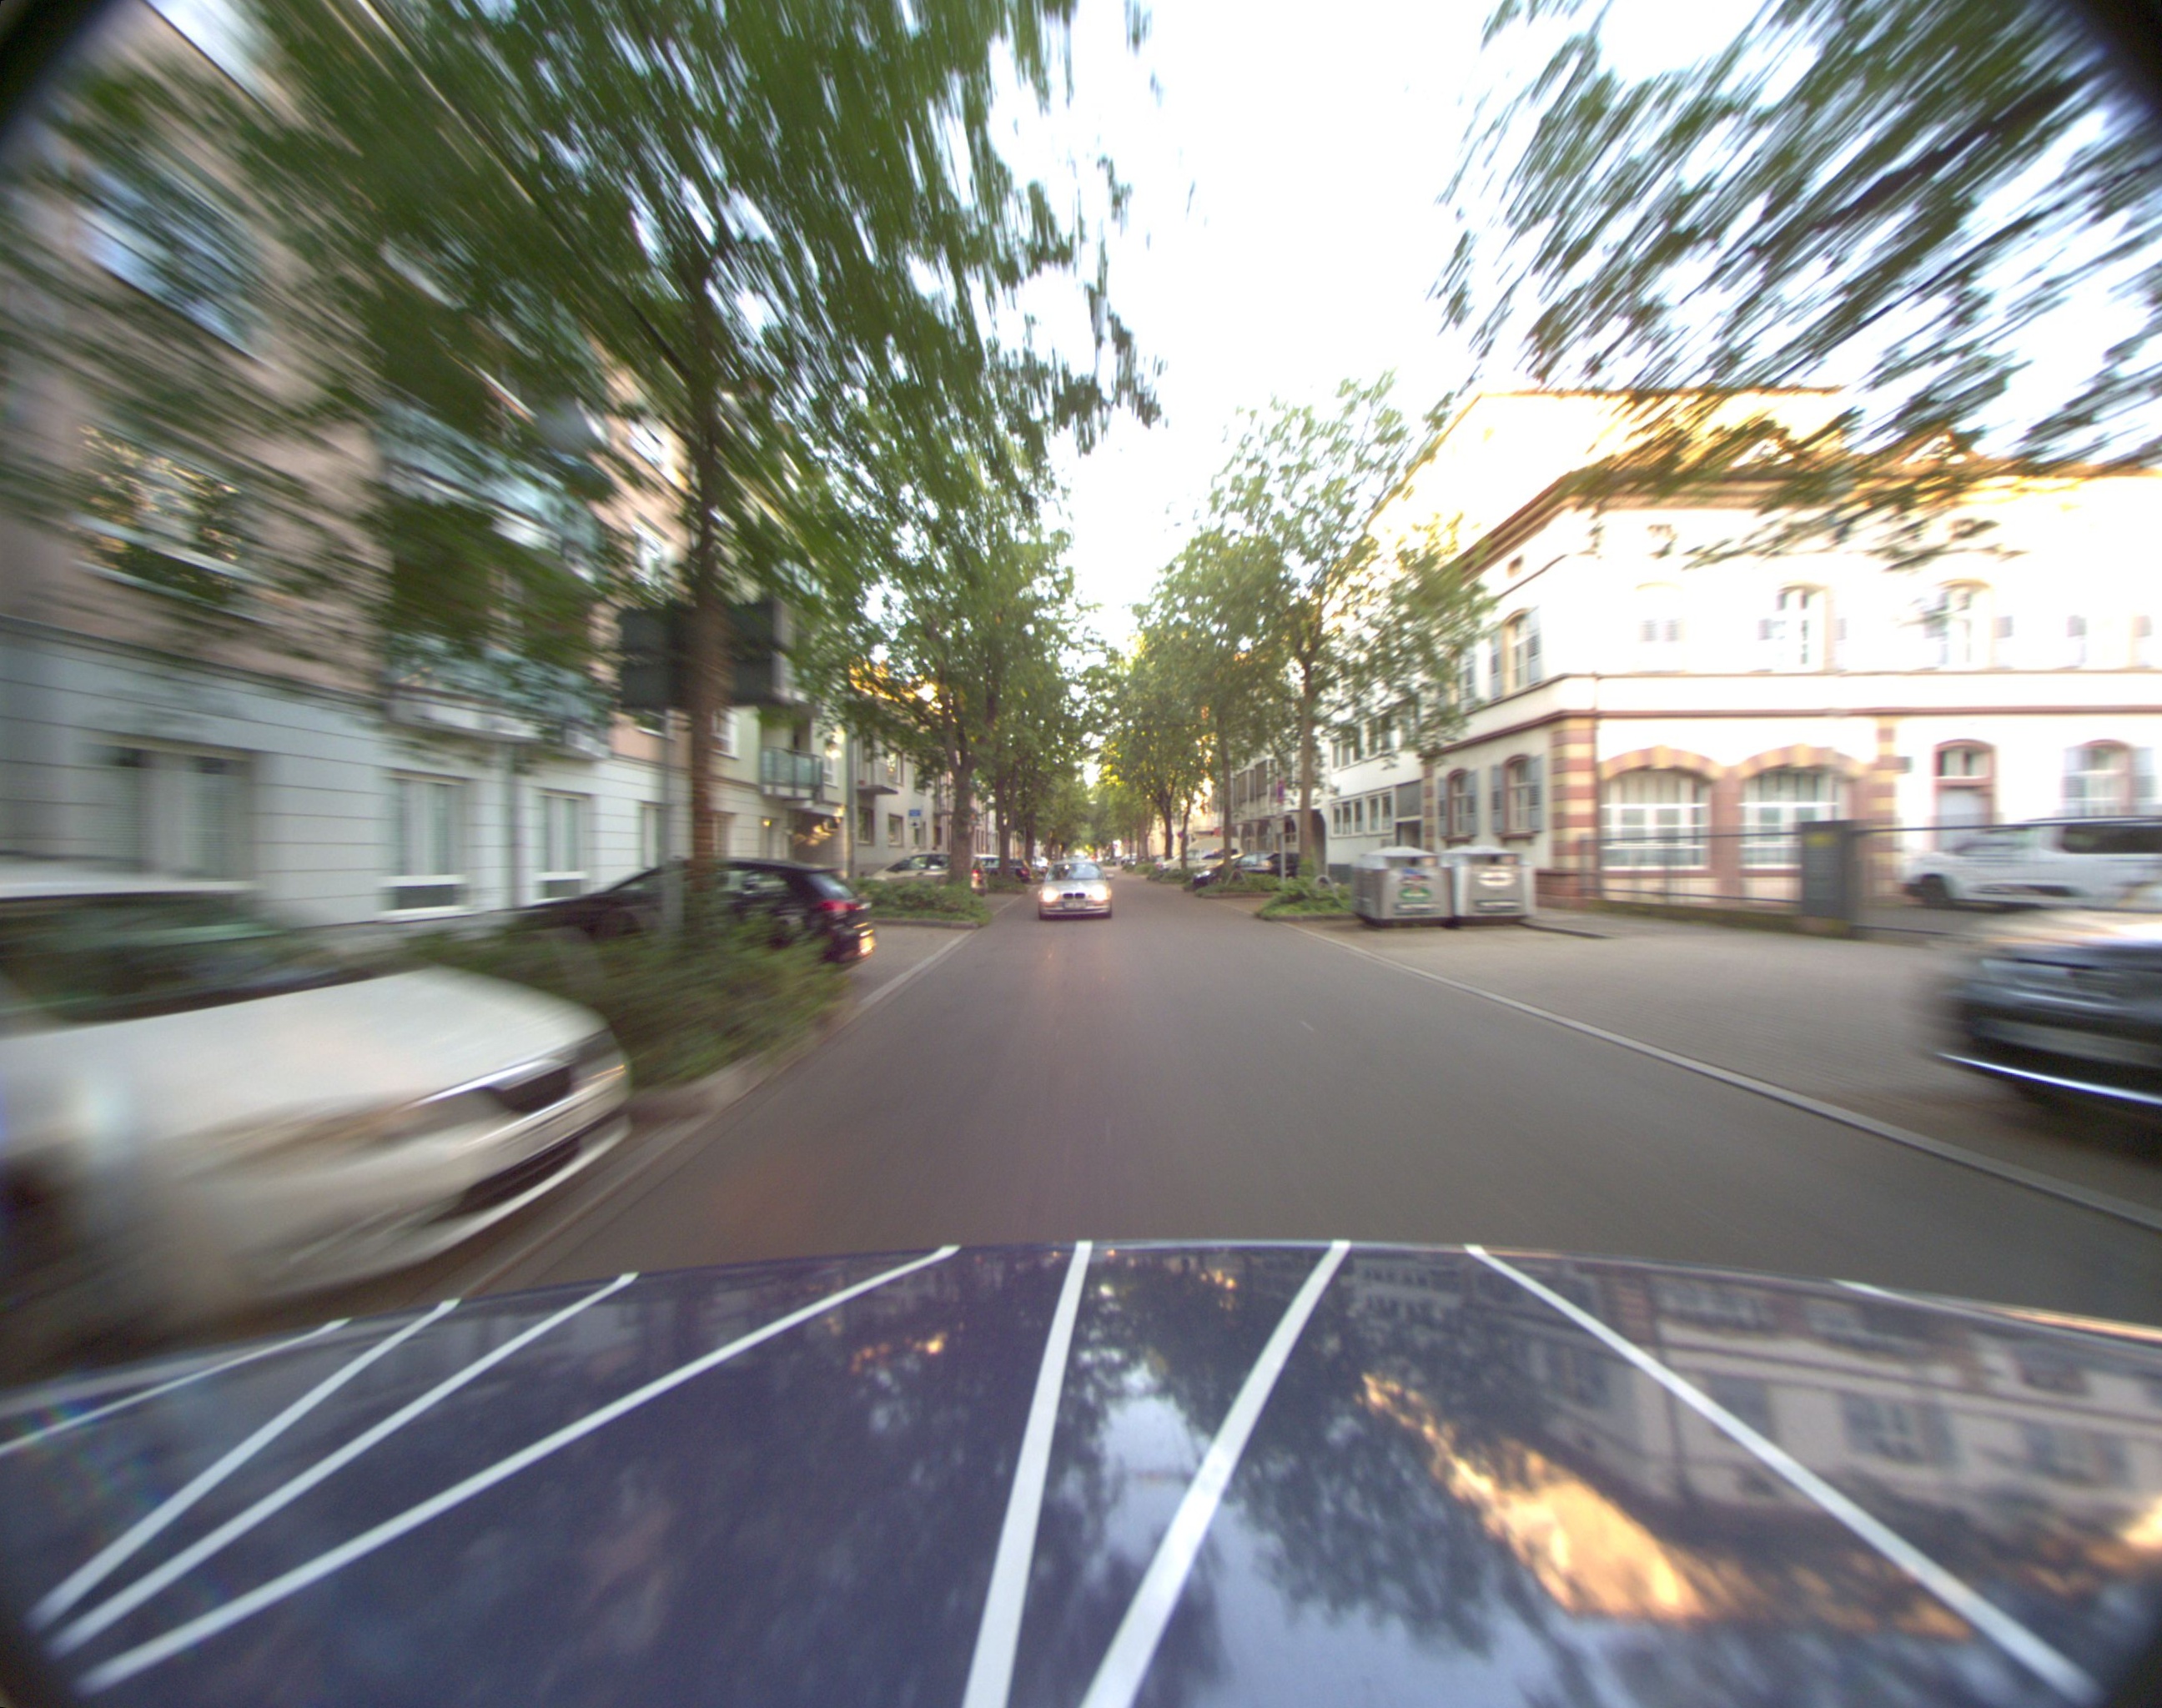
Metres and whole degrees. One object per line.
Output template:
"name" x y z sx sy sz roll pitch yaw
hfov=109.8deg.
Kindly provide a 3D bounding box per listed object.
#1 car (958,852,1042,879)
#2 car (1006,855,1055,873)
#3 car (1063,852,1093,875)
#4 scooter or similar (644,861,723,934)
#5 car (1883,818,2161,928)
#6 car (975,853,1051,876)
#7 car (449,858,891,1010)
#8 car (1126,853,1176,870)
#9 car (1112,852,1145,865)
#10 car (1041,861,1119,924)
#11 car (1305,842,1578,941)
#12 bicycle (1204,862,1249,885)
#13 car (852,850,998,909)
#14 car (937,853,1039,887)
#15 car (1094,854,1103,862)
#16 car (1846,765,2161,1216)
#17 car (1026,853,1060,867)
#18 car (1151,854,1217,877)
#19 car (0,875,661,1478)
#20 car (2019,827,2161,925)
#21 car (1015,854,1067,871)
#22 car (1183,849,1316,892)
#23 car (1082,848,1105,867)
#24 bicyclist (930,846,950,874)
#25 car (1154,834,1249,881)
"car" -4.757 0.672 45.045 4.689 1.380 2.000 2 0 1
"car" -4.319 0.831 65.338 4.093 1.482 1.797 -1 0 -3
"car" -0.216 0.664 56.980 1.892 1.636 4.001 -2 0 4
"scooter or similar" -7.064 0.743 13.574 0.656 1.196 1.454 2 0 -3
"car" 18.065 0.292 13.767 2.003 1.747 4.677 -1 0 -3
"car" -4.573 0.707 51.511 4.851 1.440 2.042 1 0 2
"car" -4.506 0.864 8.948 4.095 1.443 1.934 2 0 -5
"car" 6.633 0.673 72.139 4.520 1.517 1.871 -1 0 0
"car" 6.749 0.641 107.139 4.601 1.725 2.142 -1 0 5
"car" -0.108 0.875 19.225 1.737 1.363 4.331 -1 0 -2
"car" 7.034 0.691 15.189 4.517 1.761 2.000 -1 0 -1
"bicycle" 5.448 0.715 28.487 1.556 0.826 0.613 -1 1 3
"car" -4.631 0.734 22.998 3.979 1.576 1.916 2 0 0
"car" -4.389 0.731 36.196 4.468 1.419 2.012 2 1 4
"car" 4.061 0.923 179.070 1.787 1.678 4.385 -1 0 -2
"car" 6.897 0.551 3.644 4.517 1.944 2.000 -1 0 -1
"car" -4.337 0.633 86.846 3.732 1.544 1.754 -1 0 -2
"car" 6.891 0.751 51.261 4.178 1.460 1.953 -1 0 1
"car" -4.447 0.877 2.924 4.612 1.459 1.796 2 0 -1
"car" 20.881 0.399 13.941 1.902 1.811 4.347 -1 0 -3
"car" -3.823 0.803 73.313 4.886 1.488 1.988 -1 0 0
"car" 6.699 0.648 30.610 4.865 1.612 2.160 -1 0 1
"car" 1.312 0.352 78.122 1.998 1.838 4.001 -2 0 4
"bicyclist" -8.110 0.324 43.757 0.973 1.595 1.135 0 1 -3
"car" 6.774 0.204 43.020 5.016 2.558 2.121 -1 0 0
